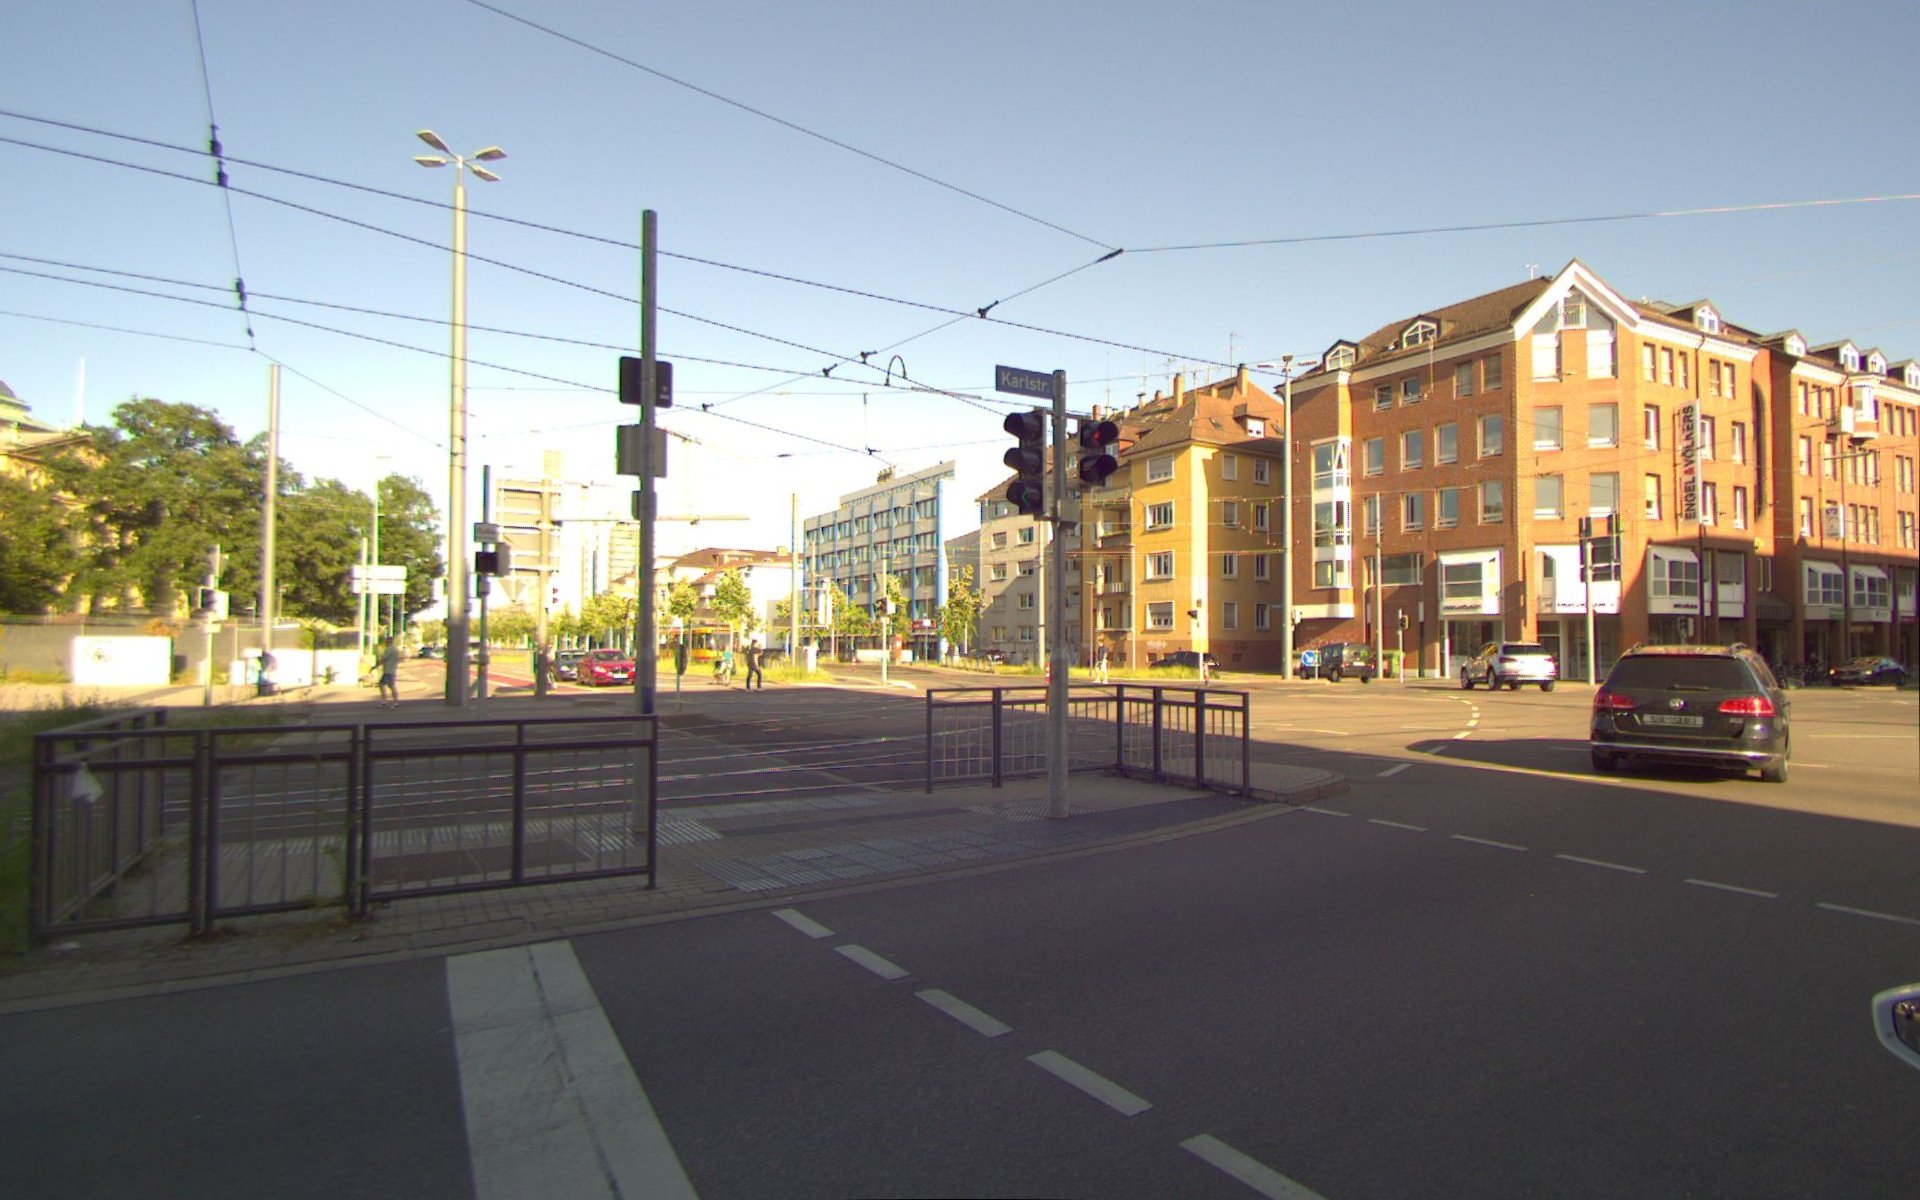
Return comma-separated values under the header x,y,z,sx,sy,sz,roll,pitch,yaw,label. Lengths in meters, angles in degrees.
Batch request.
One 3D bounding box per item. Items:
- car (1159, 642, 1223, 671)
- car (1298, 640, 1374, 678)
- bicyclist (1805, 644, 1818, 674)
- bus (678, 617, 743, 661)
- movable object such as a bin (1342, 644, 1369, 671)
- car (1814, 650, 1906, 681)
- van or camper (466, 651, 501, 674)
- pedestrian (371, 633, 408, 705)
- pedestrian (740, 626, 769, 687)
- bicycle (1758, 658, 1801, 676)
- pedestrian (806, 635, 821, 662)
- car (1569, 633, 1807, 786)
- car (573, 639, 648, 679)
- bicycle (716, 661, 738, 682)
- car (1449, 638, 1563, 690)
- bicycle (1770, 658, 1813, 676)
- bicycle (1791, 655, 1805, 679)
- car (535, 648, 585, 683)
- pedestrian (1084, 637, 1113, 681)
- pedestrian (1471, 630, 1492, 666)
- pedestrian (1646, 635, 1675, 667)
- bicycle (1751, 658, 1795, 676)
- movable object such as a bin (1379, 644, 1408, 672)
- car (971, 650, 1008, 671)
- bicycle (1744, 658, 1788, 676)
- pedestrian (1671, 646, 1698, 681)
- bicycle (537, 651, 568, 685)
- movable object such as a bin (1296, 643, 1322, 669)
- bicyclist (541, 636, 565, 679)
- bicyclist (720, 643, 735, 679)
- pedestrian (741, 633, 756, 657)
x,y,z,sx,sy,sz,roll,pitch,yaw,label
12.938,3.161,56.425,1.709,1.571,3.449,2,-2,-28,car
17.127,2.677,45.924,1.549,1.639,3.777,1,-2,-10,car
42.666,2.956,50.322,0.476,1.490,0.716,-1,-2,39,bicyclist
-21.735,3.397,87.128,2.917,3.610,9.353,2,-2,-30,bus
21.801,3.139,55.364,1.085,1.455,0.990,2,-2,-34,movable object such as a bin
43.328,3.147,48.354,3.921,1.472,1.814,1,-4,-23,car
-44.368,5.769,93.551,1.964,2.027,4.308,2,-3,-39,van or camper
-14.026,1.676,24.703,0.699,1.711,0.620,-1,-1,-37,pedestrian
-6.737,1.857,32.963,0.783,1.959,0.725,1,-2,-4,pedestrian
42.877,3.507,52.575,0.515,0.912,1.704,2,-2,-28,bicycle
-11.059,3.681,75.828,0.796,2.036,0.798,2,-2,-40,pedestrian
8.758,1.126,11.914,1.746,1.463,4.503,-2,-2,43,car
-14.167,2.398,40.592,1.764,1.529,4.523,1,-4,-34,car
-8.889,2.715,38.239,0.317,0.774,1.162,2,-2,-40,bicycle
18.337,2.121,33.922,1.810,1.656,3.485,1,-2,-3,car
44.139,3.561,53.315,0.515,0.912,1.704,2,-2,-28,bicycle
42.174,3.358,50.559,0.484,1.173,1.709,-1,-2,39,bicycle
-18.498,2.990,46.419,1.557,1.491,3.682,2,-2,-31,car
5.525,2.330,39.972,0.919,1.733,0.692,2,-2,-31,pedestrian
25.895,2.385,49.857,0.704,1.750,0.684,2,-2,-33,pedestrian
36.212,2.629,51.943,0.847,1.589,0.887,1,-2,-3,pedestrian
42.324,3.486,52.299,0.515,0.912,1.704,2,-2,-28,bicycle
23.010,3.052,53.333,1.085,1.455,0.990,2,-2,-34,movable object such as a bin
2.464,5.033,83.476,1.546,1.639,3.291,2,-2,-30,car
41.666,3.463,51.947,0.515,0.912,1.704,2,-2,-28,bicycle
34.736,3.059,48.168,0.767,1.615,0.709,1,1,-27,pedestrian
-14.331,2.383,35.309,0.607,1.148,1.484,2,-2,-38,bicycle
20.217,3.247,58.225,1.085,1.455,0.990,2,-2,-34,movable object such as a bin
-14.326,2.015,35.329,0.604,1.513,0.609,2,-2,-38,bicyclist
-8.857,2.312,38.226,0.397,1.333,0.454,2,-2,-40,bicyclist
-17.974,3.828,85.433,0.917,2.036,1.000,2,-2,-40,pedestrian
